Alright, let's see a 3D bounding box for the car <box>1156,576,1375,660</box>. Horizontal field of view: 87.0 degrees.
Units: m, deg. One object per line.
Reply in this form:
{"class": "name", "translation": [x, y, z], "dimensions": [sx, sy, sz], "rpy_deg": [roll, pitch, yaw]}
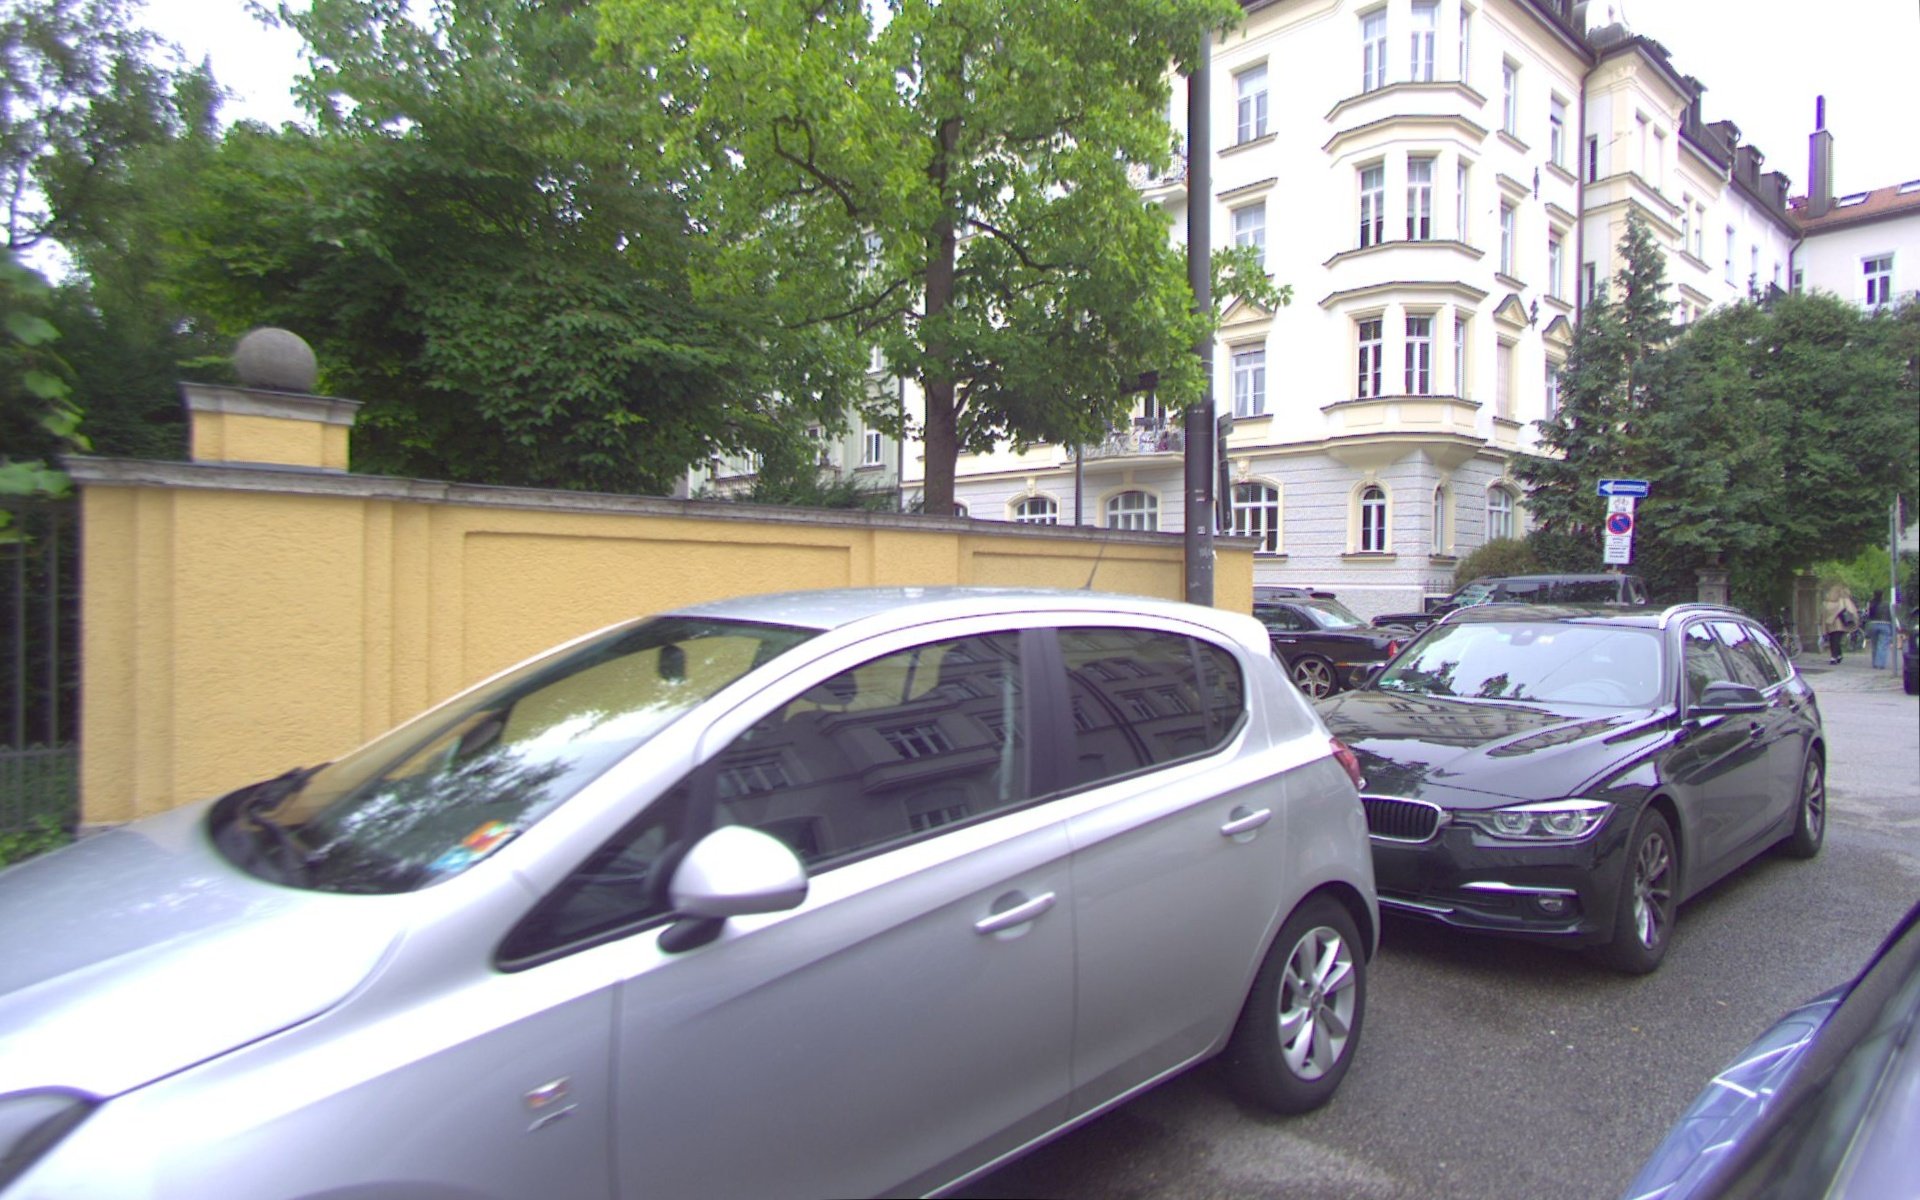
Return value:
{"class": "car", "translation": [6.515, 0.345, 21.893], "dimensions": [1.713, 1.607, 4.217], "rpy_deg": [3, -1, -43]}

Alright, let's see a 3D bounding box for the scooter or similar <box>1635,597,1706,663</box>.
{"class": "scooter or similar", "translation": [14.435, 0.585, 20.572], "dimensions": [0.439, 1.279, 1.090], "rpy_deg": [0, 1, -36]}

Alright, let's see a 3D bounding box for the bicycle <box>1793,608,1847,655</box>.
{"class": "bicycle", "translation": [19.460, 0.699, 22.902], "dimensions": [1.745, 0.997, 0.449], "rpy_deg": [0, 0, -33]}

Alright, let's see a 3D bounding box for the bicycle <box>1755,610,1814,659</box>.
{"class": "bicycle", "translation": [17.508, 0.718, 21.475], "dimensions": [1.745, 0.997, 0.449], "rpy_deg": [0, 0, -33]}

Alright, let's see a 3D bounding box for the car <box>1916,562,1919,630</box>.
{"class": "car", "translation": [17.260, 0.374, 16.428], "dimensions": [4.354, 1.986, 1.997], "rpy_deg": [1, -3, -40]}

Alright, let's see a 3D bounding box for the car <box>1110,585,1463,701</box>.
{"class": "car", "translation": [4.822, 0.537, 15.559], "dimensions": [4.942, 1.430, 1.714], "rpy_deg": [2, 1, 45]}

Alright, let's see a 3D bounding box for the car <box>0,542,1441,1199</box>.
{"class": "car", "translation": [-0.571, 0.648, 2.595], "dimensions": [4.110, 1.471, 1.716], "rpy_deg": [0, 1, -40]}

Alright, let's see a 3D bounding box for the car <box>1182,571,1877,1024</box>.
{"class": "car", "translation": [3.423, 0.615, 5.528], "dimensions": [4.868, 1.471, 1.716], "rpy_deg": [0, 1, -40]}

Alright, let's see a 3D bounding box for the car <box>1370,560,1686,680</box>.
{"class": "car", "translation": [10.099, 0.286, 18.310], "dimensions": [1.713, 1.896, 4.670], "rpy_deg": [3, -1, -43]}

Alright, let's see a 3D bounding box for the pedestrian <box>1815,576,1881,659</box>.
{"class": "pedestrian", "translation": [18.883, 0.348, 21.519], "dimensions": [1.033, 1.711, 0.876], "rpy_deg": [0, 1, -39]}

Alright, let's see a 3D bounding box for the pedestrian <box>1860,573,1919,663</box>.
{"class": "pedestrian", "translation": [19.226, 0.348, 20.844], "dimensions": [1.033, 1.778, 0.876], "rpy_deg": [0, 1, -39]}
